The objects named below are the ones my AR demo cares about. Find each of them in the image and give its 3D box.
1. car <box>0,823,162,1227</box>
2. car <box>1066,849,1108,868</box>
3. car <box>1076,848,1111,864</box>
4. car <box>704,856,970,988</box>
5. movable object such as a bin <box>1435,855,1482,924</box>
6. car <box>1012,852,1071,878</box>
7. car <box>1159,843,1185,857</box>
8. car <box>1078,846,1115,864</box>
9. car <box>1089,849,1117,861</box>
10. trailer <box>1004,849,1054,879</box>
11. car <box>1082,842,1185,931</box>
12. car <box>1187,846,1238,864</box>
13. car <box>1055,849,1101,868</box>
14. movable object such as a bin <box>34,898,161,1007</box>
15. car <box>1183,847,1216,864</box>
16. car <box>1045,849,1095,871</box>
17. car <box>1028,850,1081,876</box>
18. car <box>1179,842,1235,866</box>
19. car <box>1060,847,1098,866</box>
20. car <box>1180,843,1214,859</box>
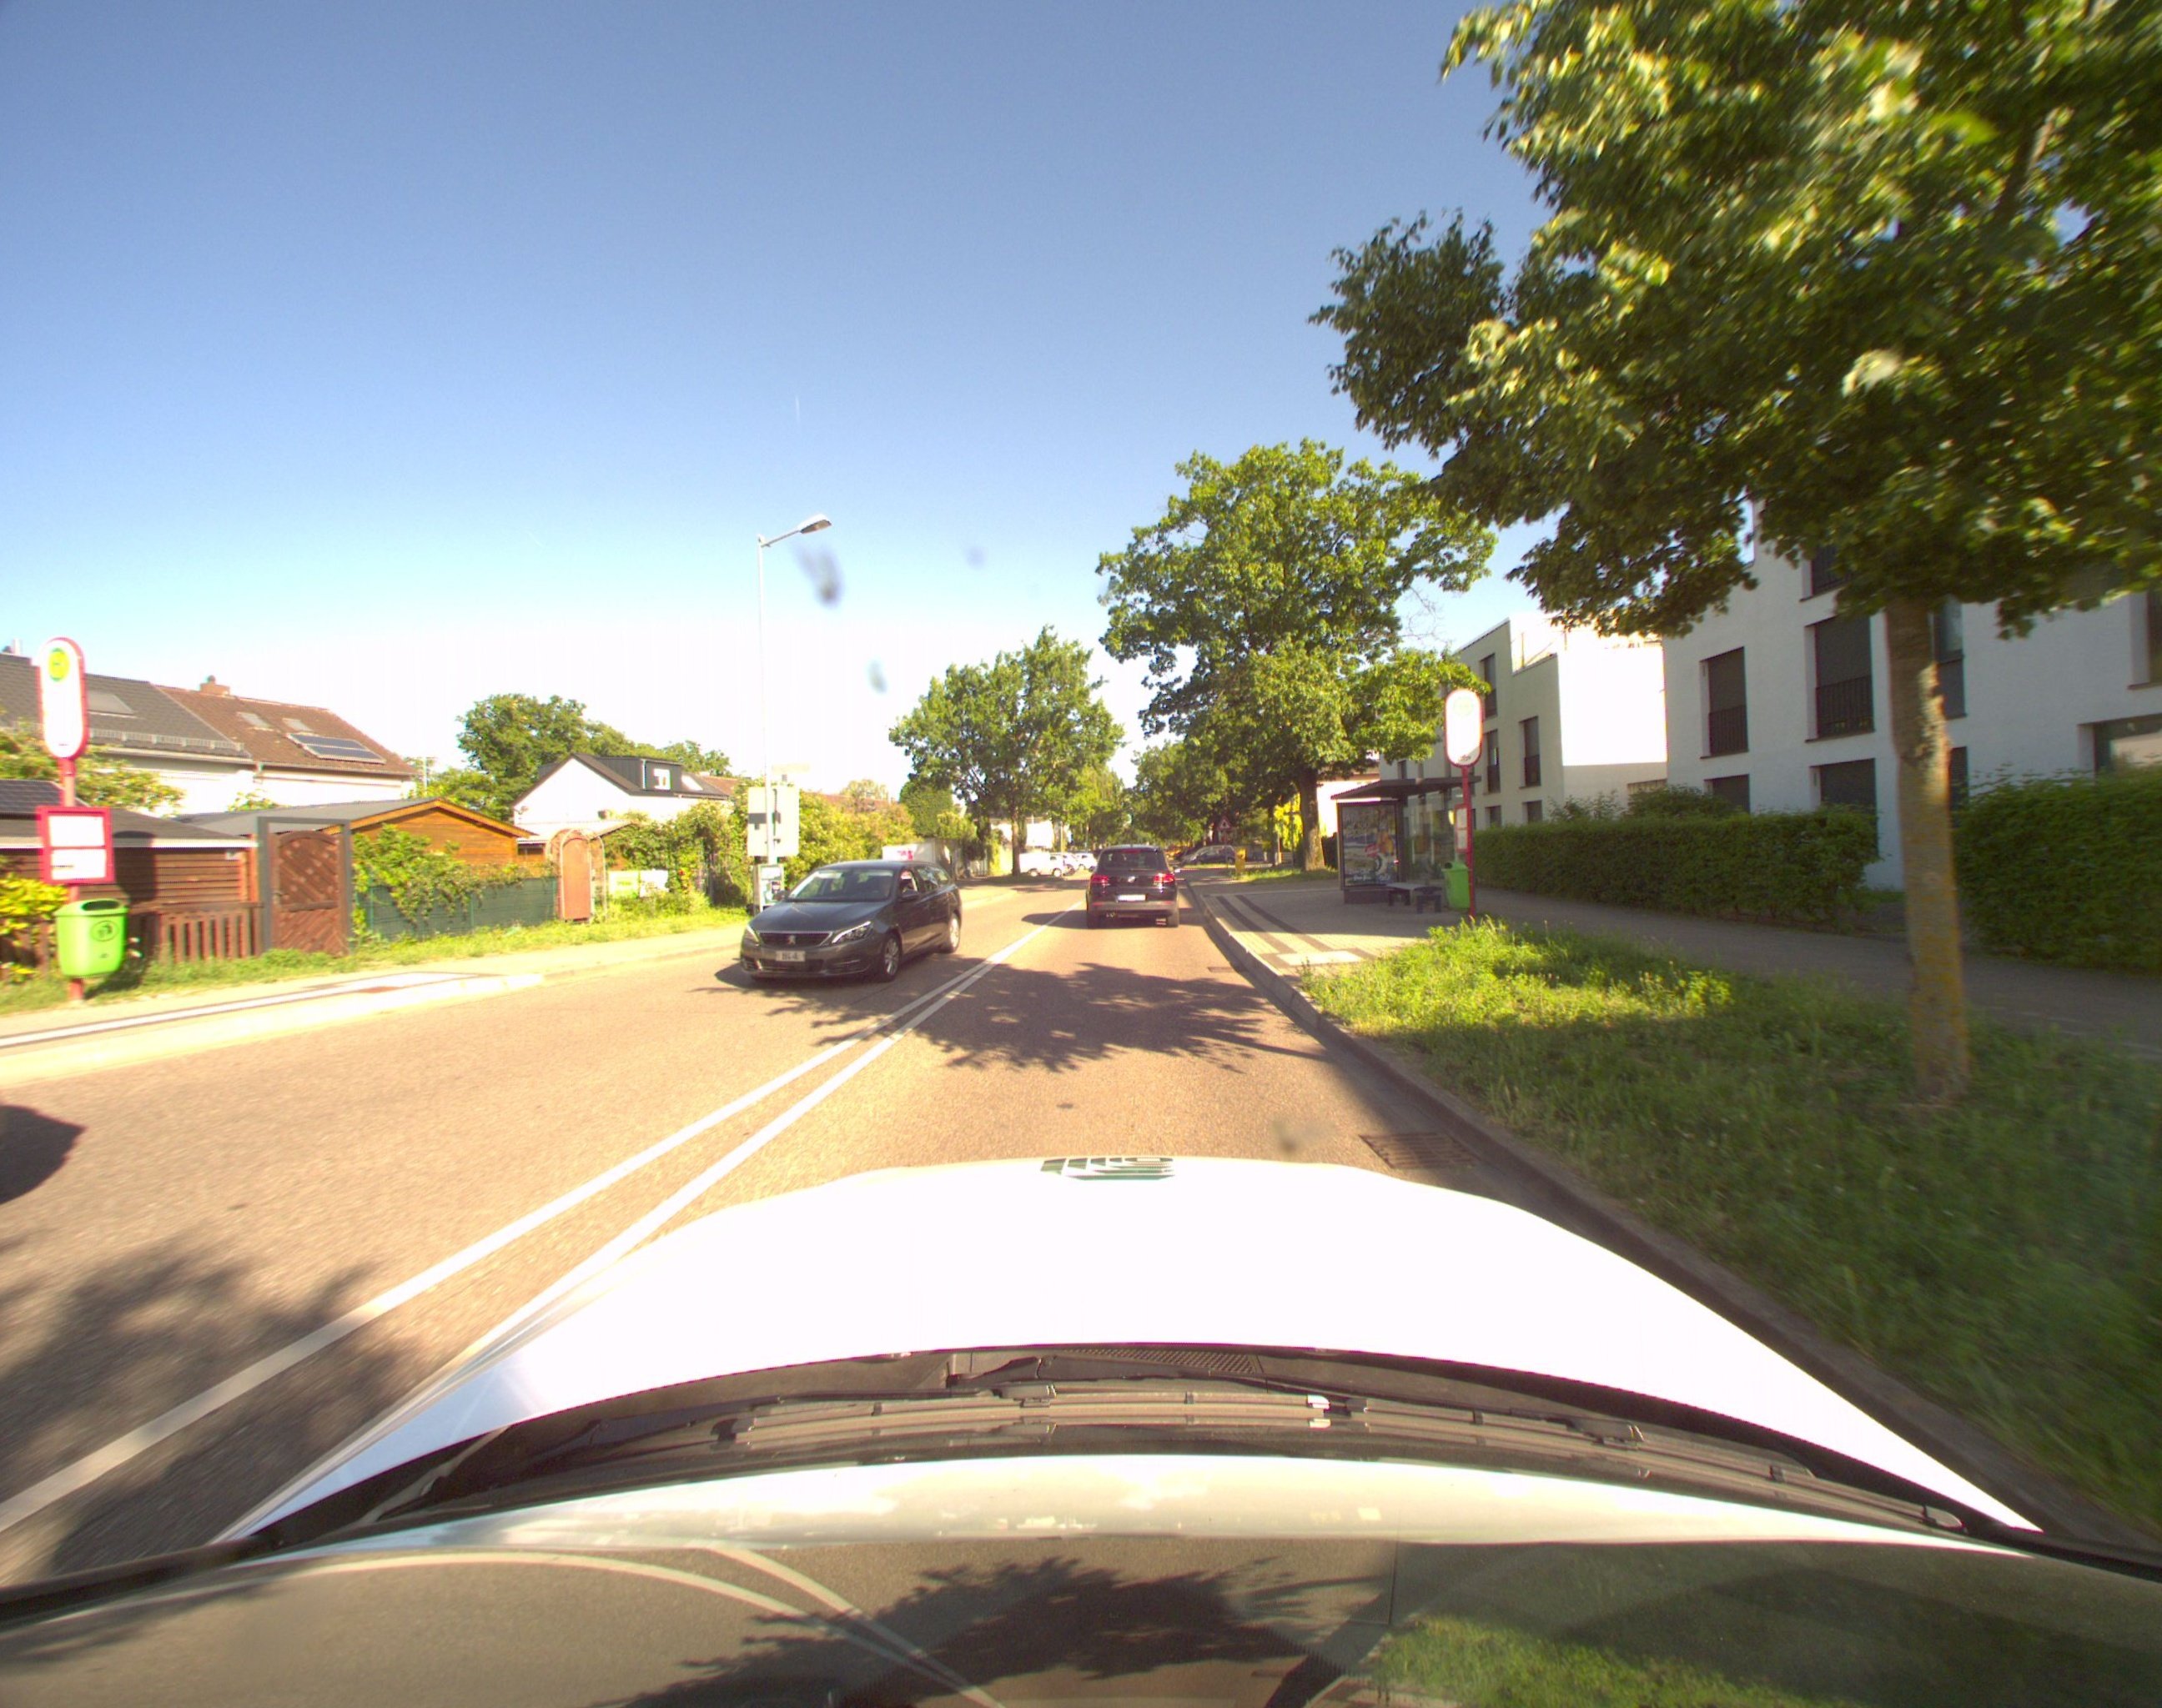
[{"bbox_3d":[-5.702,0.706,1.660,2.195,1.591,4.548,-2,0,11],"label":"car"},{"bbox_3d":[0.630,0.455,80.296,3.973,1.731,2.000,-3,0,1],"label":"car"},{"bbox_3d":[1.511,0.208,97.398,3.969,1.720,1.823,-2,-1,4],"label":"car"},{"bbox_3d":[-3.064,0.774,11.376,1.984,1.443,4.457,-1,0,5],"label":"car"},{"bbox_3d":[5.772,0.529,12.470,0.368,1.016,0.599,-2,0,-4],"label":"movable object such as a bin"},{"bbox_3d":[-2.509,0.697,52.837,3.532,1.477,1.811,-3,0,5],"label":"car"},{"bbox_3d":[14.488,-0.609,129.630,3.967,2.014,2.003,-3,-2,5],"label":"car"},{"bbox_3d":[1.872,0.124,99.853,4.375,1.939,1.578,-2,-1,0],"label":"car"},{"bbox_3d":[3.324,0.173,122.827,3.978,1.684,1.921,-3,0,-3],"label":"car"},{"bbox_3d":[-3.209,0.614,50.521,2.956,1.656,1.397,-3,0,1],"label":"trailer"},{"bbox_3d":[1.032,0.590,17.609,1.922,1.654,4.515,-1,1,1],"label":"car"},{"bbox_3d":[10.851,0.084,67.362,3.968,1.368,1.849,-2,0,4],"label":"car"},{"bbox_3d":[-0.289,0.415,75.587,3.966,1.640,2.004,-2,0,6],"label":"car"},{"bbox_3d":[-9.682,0.950,8.034,0.589,0.968,0.560,2,1,9],"label":"movable object such as a bin"},{"bbox_3d":[11.859,0.135,81.697,3.035,1.507,1.246,-3,0,-1],"label":"car"},{"bbox_3d":[-0.916,0.492,70.272,3.967,1.670,2.003,-2,0,6],"label":"car"},{"bbox_3d":[-1.778,0.580,55.469,3.539,1.613,1.852,-2,0,-1],"label":"car"},{"bbox_3d":[10.792,-0.024,69.875,4.611,1.809,1.826,-3,0,4],"label":"car"},{"bbox_3d":[-0.148,0.257,87.849,3.973,1.836,1.638,-3,0,0],"label":"car"},{"bbox_3d":[13.952,-0.375,98.376,3.967,1.775,1.792,-2,0,5],"label":"car"}]
